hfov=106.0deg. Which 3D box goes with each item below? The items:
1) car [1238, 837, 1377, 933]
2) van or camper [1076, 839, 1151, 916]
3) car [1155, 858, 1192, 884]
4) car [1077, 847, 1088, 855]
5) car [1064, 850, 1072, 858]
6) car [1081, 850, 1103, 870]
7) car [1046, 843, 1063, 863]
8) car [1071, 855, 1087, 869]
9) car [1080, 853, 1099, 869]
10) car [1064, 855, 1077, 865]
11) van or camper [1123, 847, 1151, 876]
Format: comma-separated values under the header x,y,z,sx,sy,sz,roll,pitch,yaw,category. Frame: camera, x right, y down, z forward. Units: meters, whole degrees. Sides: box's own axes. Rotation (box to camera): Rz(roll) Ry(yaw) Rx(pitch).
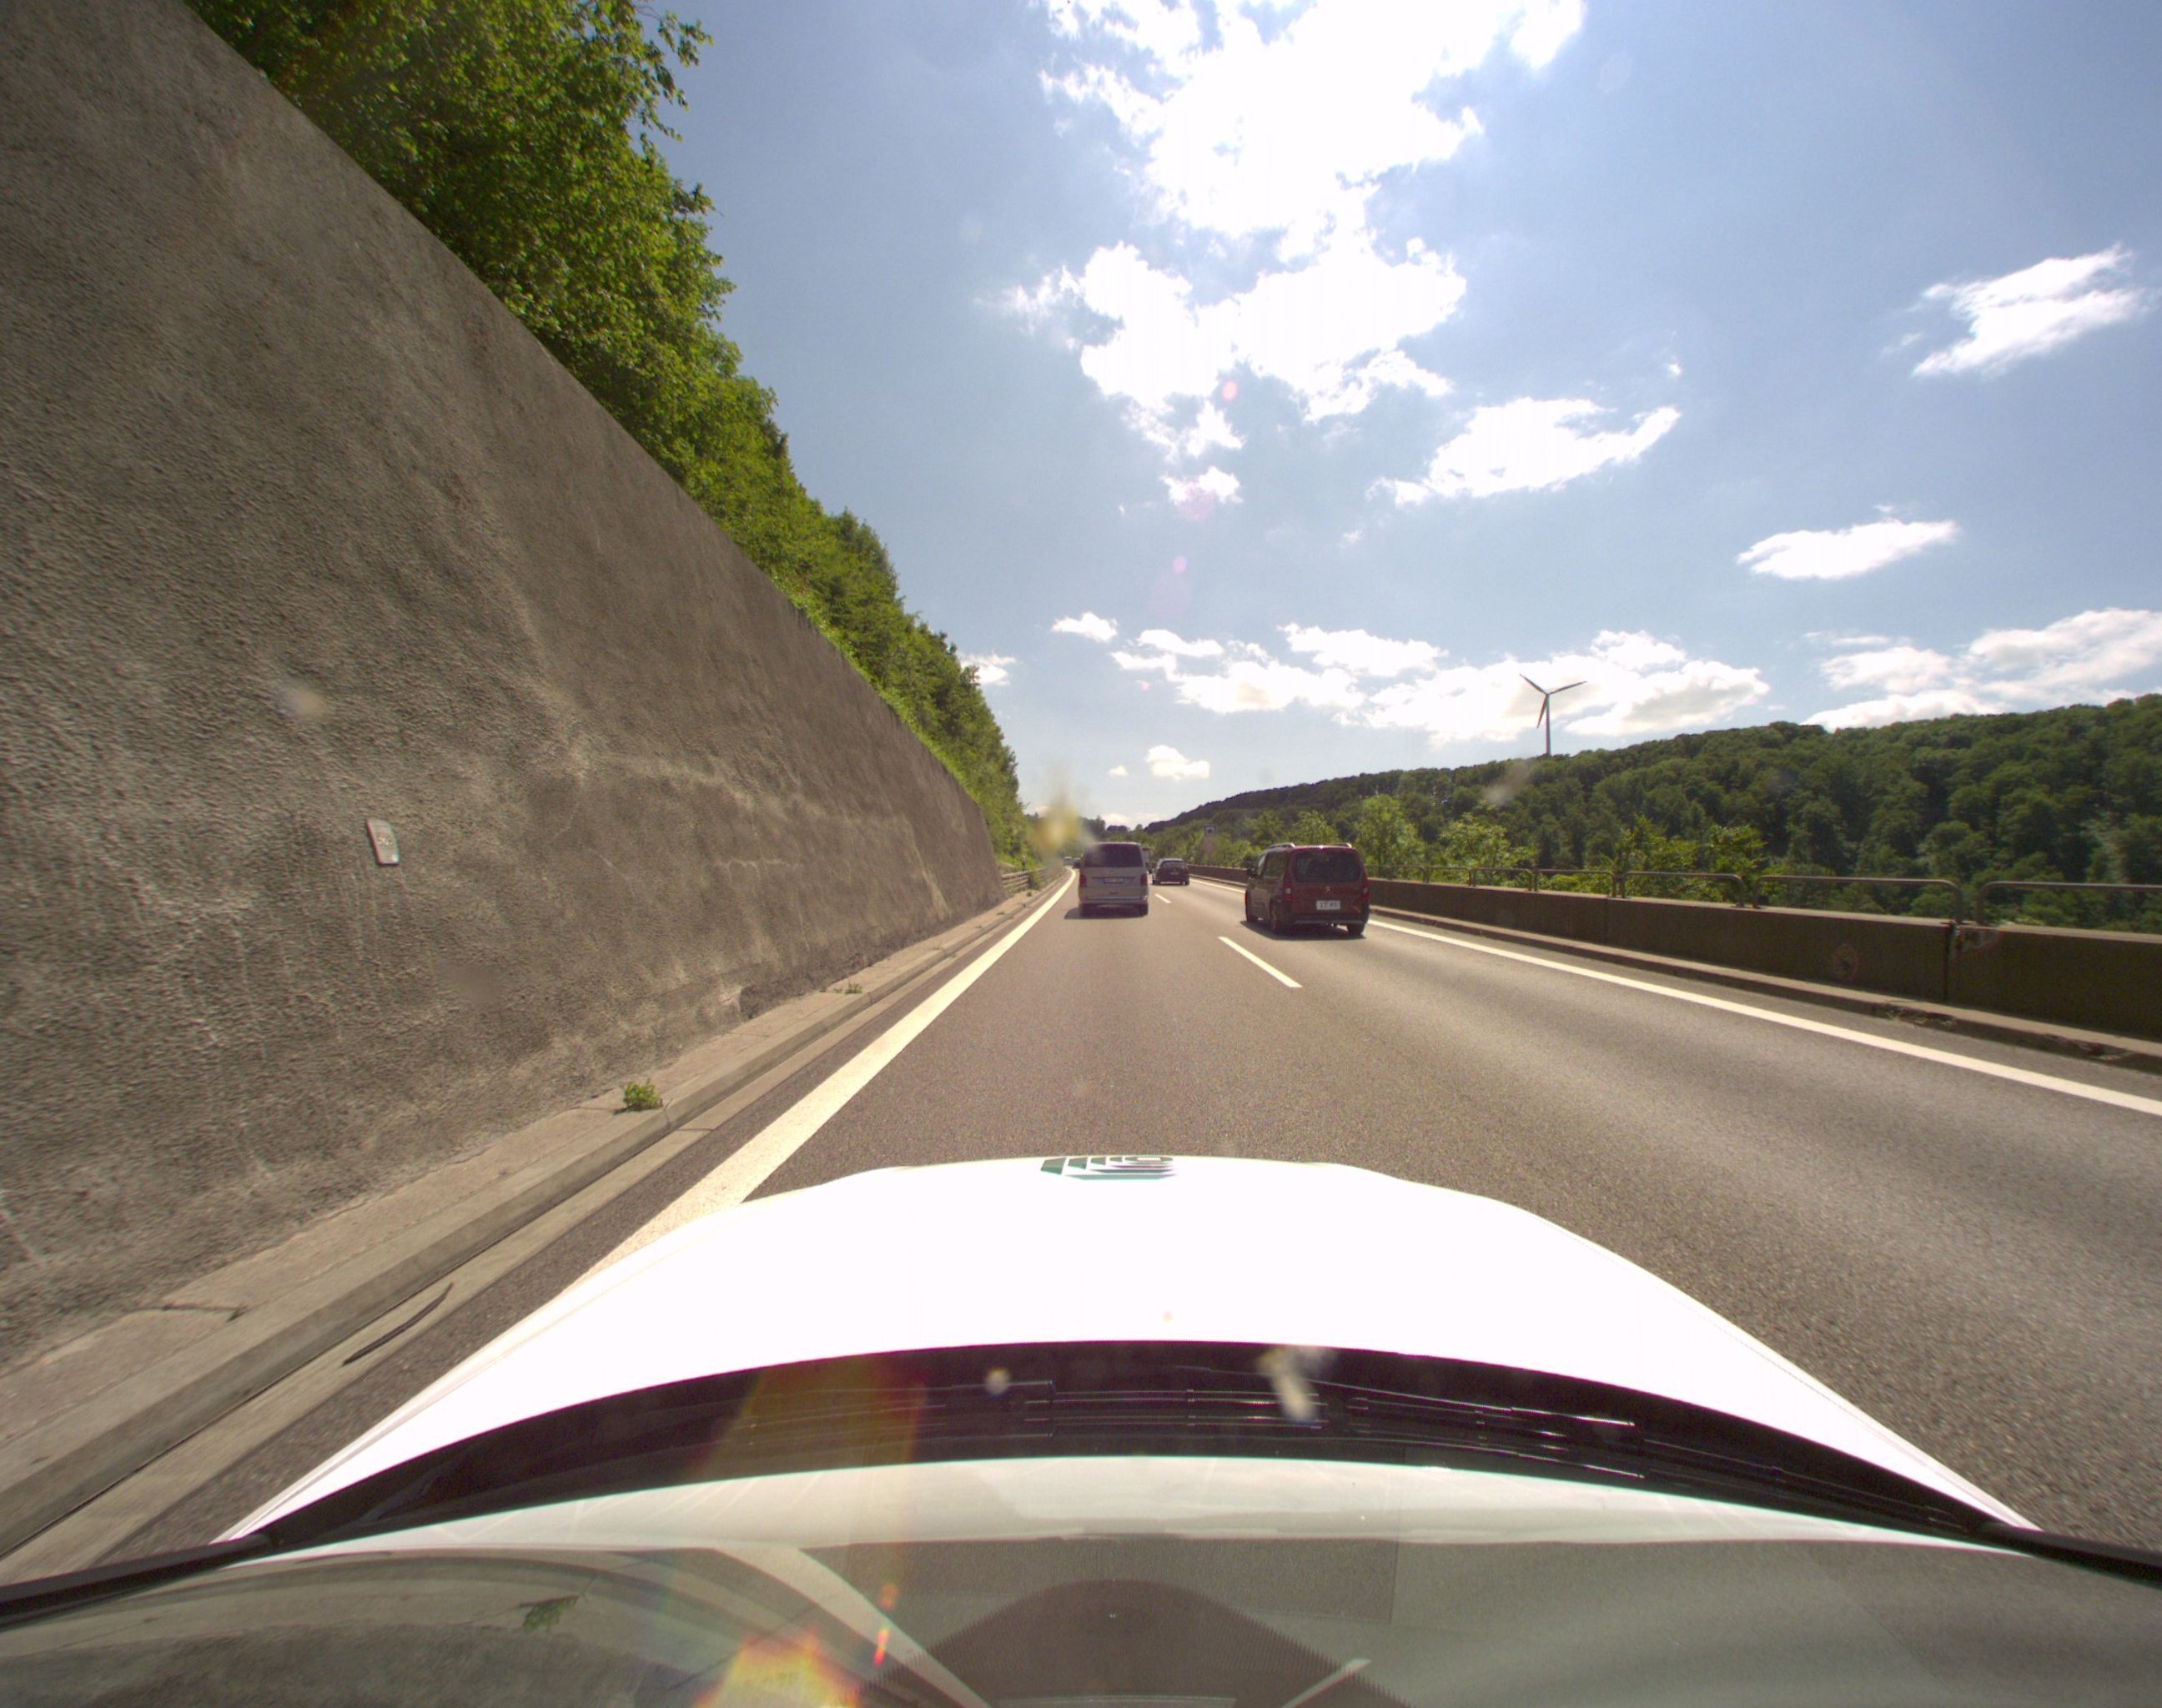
x,y,z,sx,sy,sz,roll,pitch,yaw,category
4.764,0.626,17.829,1.826,1.784,4.677,-1,-1,2,car
0.879,0.616,23.133,1.869,1.949,4.294,-1,0,1,van or camper
5.084,0.902,45.101,1.761,1.376,3.595,-1,0,3,car
0.315,-0.693,192.623,1.991,2.013,3.991,0,0,-6,car
-3.319,0.120,207.783,1.989,2.013,3.996,0,0,-3,car
1.002,0.573,76.957,1.987,1.817,3.999,-1,0,-1,car
-7.006,-0.277,211.823,4.035,4.871,10.097,0,0,-3,car
-0.287,1.049,111.801,1.988,1.915,3.997,0,0,-2,car
0.926,0.797,91.946,1.987,1.817,3.999,-1,0,-1,car
-1.916,1.081,145.715,2.138,1.607,5.071,-2,-1,-3,car
5.107,0.696,75.172,2.256,2.551,4.737,-2,-1,1,van or camper
